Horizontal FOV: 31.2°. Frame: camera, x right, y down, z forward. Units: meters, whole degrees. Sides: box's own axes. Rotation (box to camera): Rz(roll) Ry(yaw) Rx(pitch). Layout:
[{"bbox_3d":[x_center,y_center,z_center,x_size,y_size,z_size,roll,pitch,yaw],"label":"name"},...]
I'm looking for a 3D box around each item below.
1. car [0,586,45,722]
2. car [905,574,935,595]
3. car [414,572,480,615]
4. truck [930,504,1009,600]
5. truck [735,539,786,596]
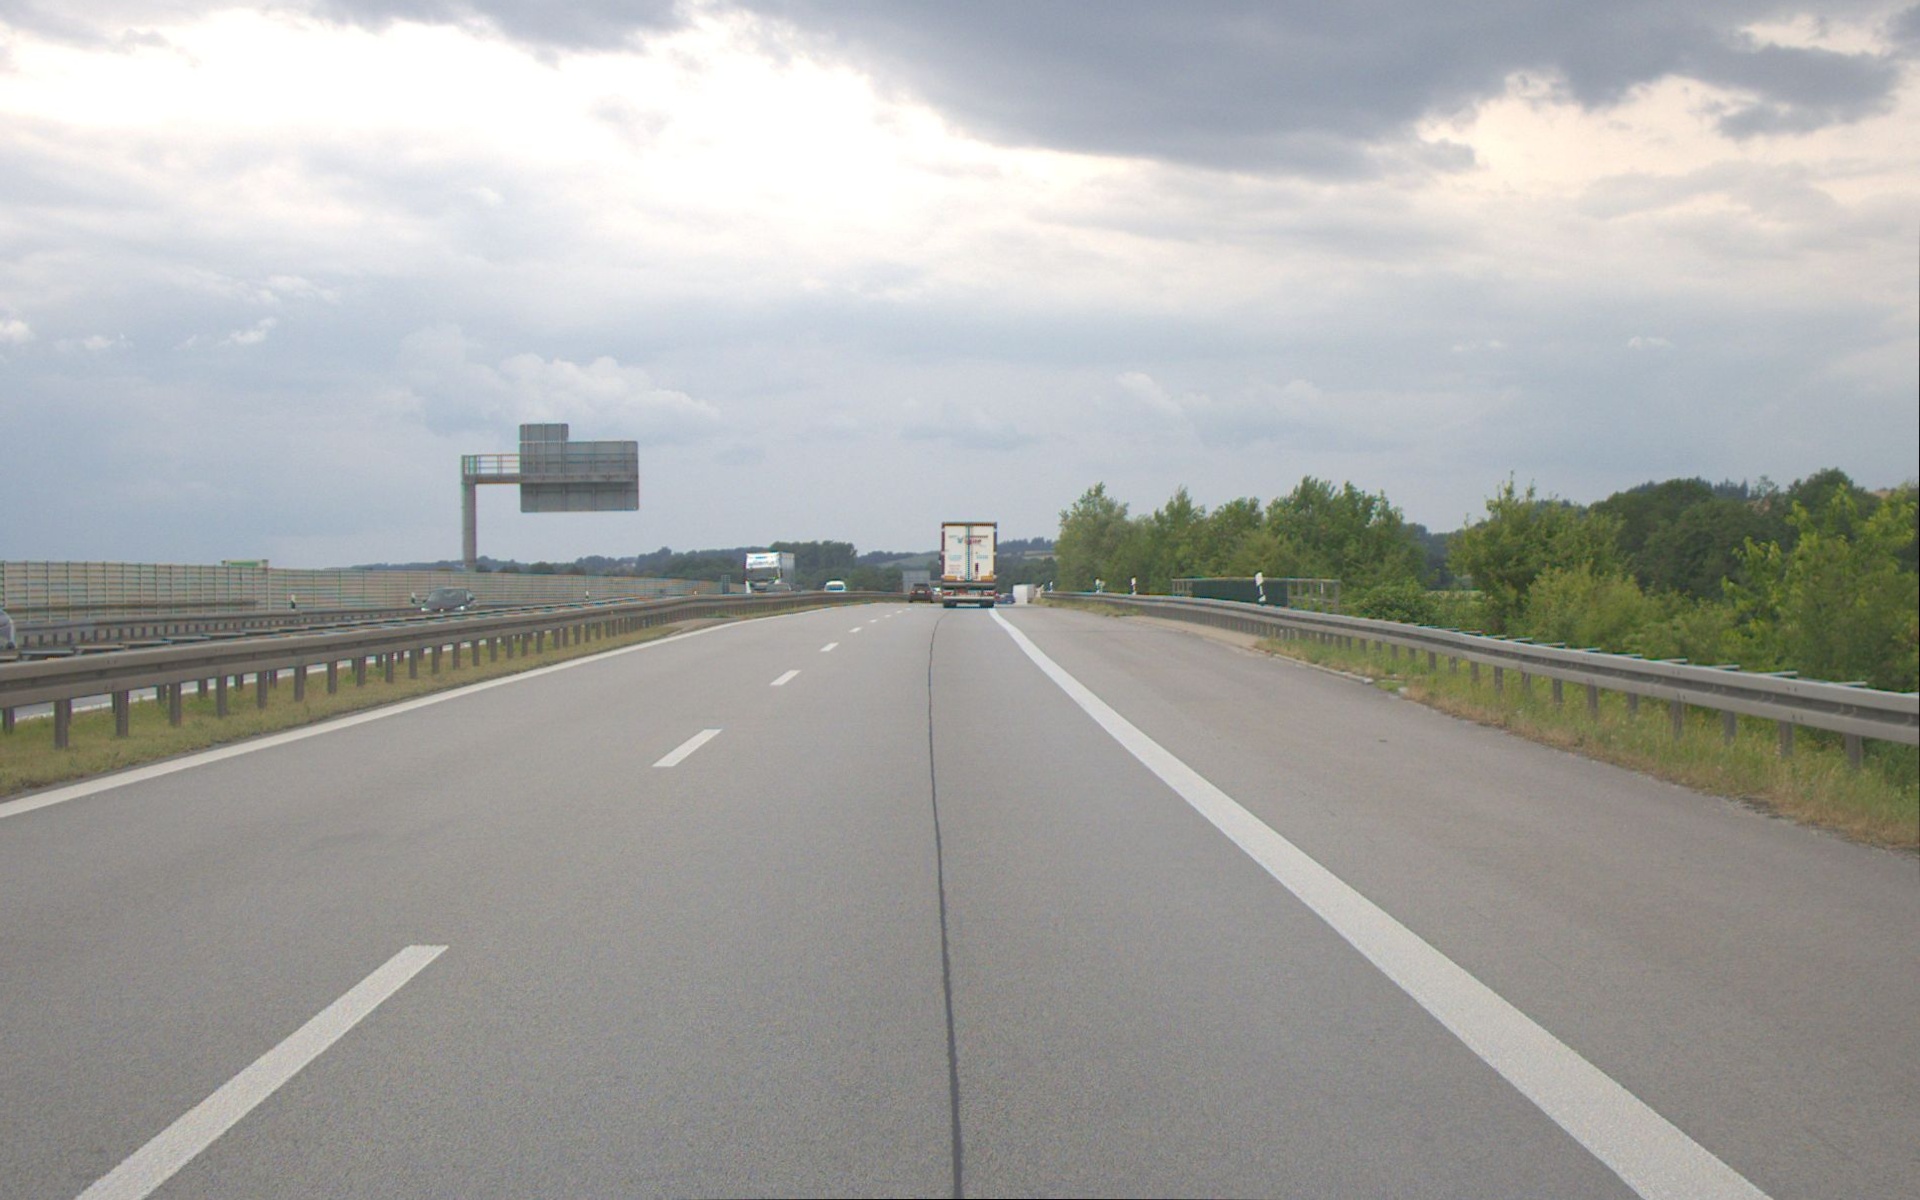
[{"bbox_3d":[-11.362,0.616,36.828,1.787,1.446,5.174,0,1,-1],"label":"car"},{"bbox_3d":[-2.918,-1.121,250.208,1.993,1.415,4.001,0,1,-2],"label":"car"},{"bbox_3d":[-18.889,-0.262,126.740,1.704,1.489,4.566,-2,0,0],"label":"car"},{"bbox_3d":[0.503,-2.251,169.061,3.672,4.397,16.340,-1,0,0],"label":"truck"},{"bbox_3d":[-14.561,-2.376,251.428,3.109,4.000,7.324,-2,0,0],"label":"truck"}]
